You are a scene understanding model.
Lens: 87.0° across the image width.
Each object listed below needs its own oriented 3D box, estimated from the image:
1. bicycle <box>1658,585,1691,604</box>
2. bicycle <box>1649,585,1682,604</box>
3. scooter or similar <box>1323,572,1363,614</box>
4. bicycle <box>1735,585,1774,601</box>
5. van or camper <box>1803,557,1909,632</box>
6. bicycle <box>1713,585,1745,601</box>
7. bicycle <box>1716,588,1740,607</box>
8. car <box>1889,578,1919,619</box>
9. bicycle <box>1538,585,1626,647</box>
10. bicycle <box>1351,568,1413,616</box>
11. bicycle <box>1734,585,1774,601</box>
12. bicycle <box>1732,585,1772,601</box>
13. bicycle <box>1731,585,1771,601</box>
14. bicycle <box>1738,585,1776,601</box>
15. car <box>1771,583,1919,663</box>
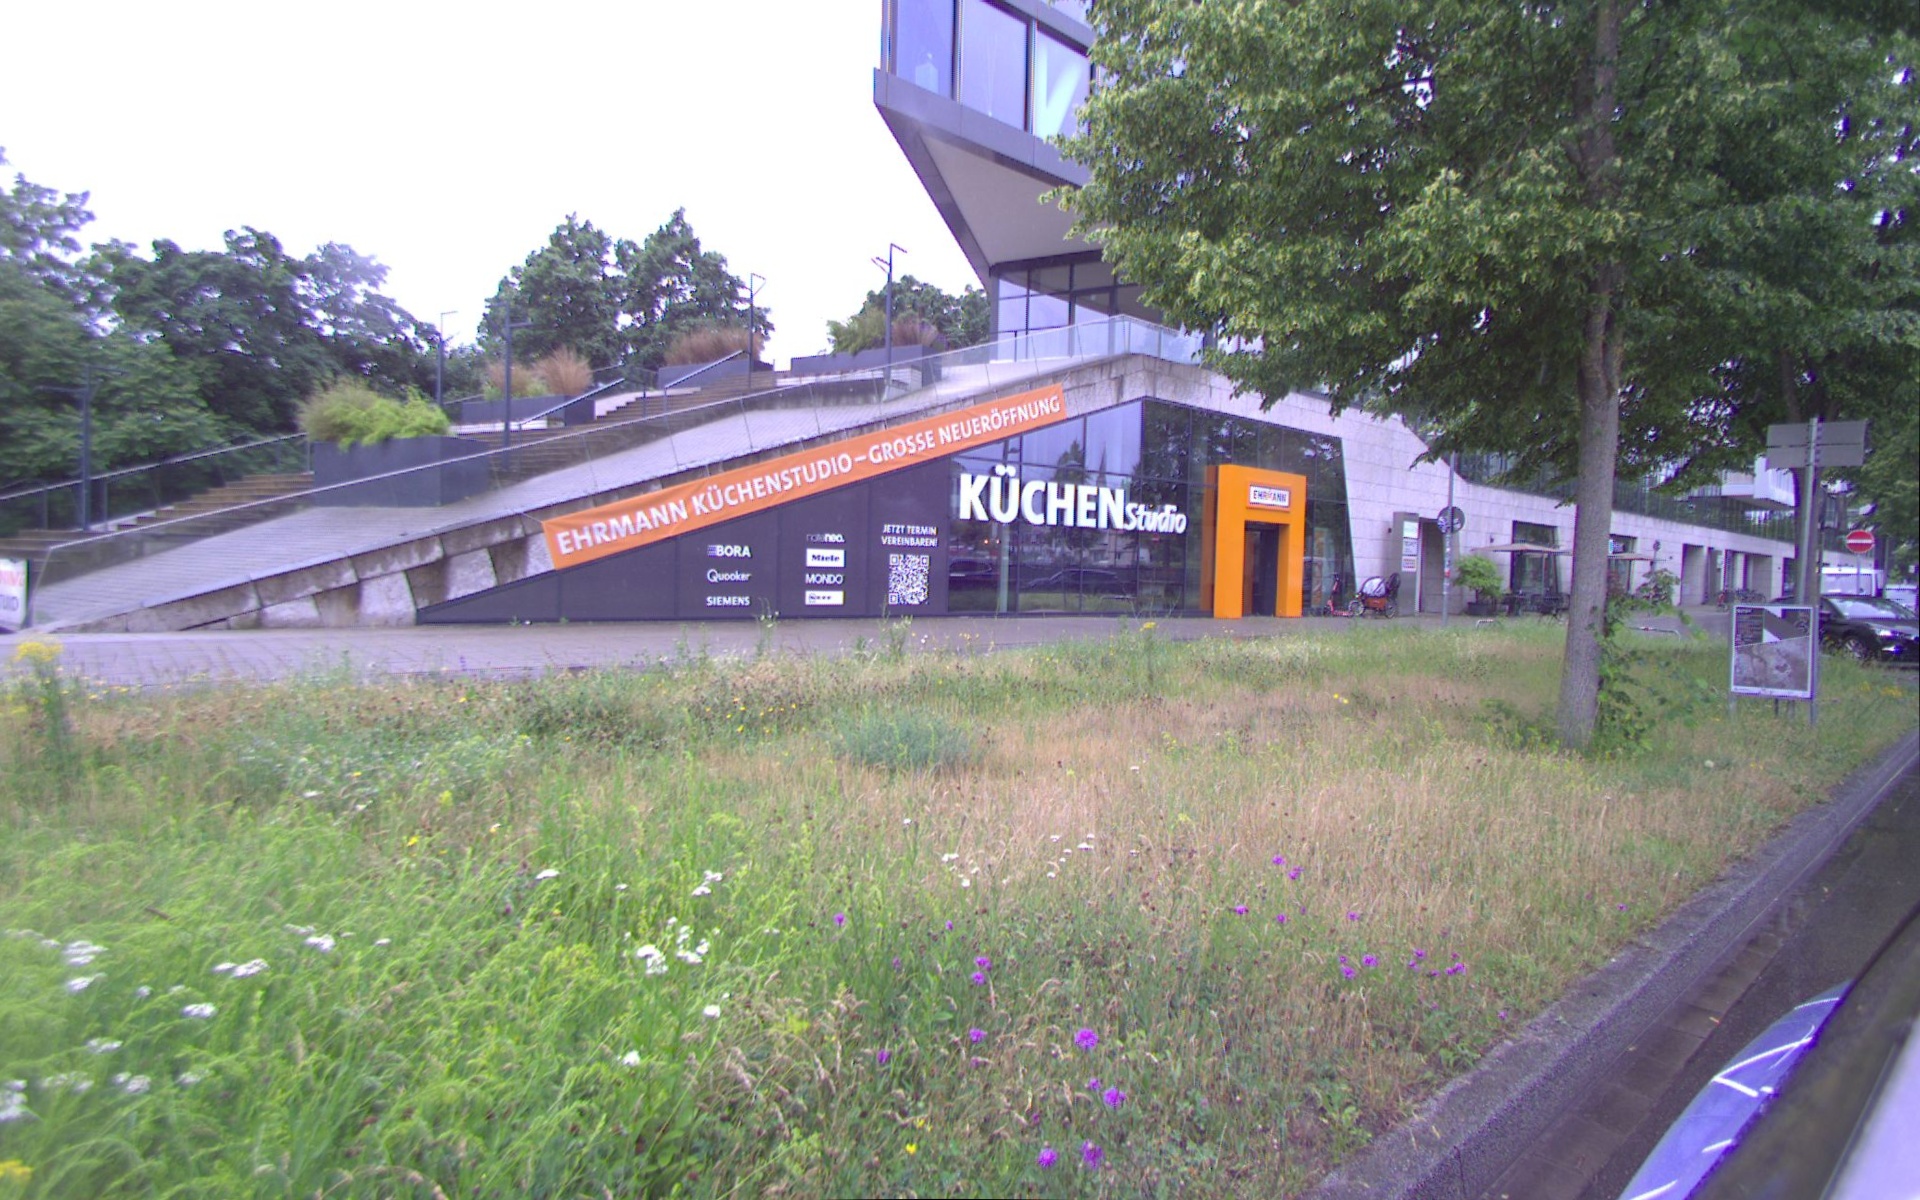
[{"bbox_3d":[37.175,-0.280,52.681,0.388,0.958,2.028,-1,1,4],"label":"bicycle"},{"bbox_3d":[36.560,-0.270,52.446,0.388,0.958,2.028,-1,1,4],"label":"bicycle"},{"bbox_3d":[11.600,-0.206,30.618,1.214,1.243,0.343,-1,0,-22],"label":"scooter or similar"},{"bbox_3d":[53.843,-0.491,68.616,0.389,0.957,2.025,-1,4,-44],"label":"bicycle"},{"bbox_3d":[29.940,-0.245,33.768,5.367,2.320,2.028,-1,2,-42],"label":"van or camper"},{"bbox_3d":[49.577,-0.441,65.245,0.339,0.957,1.665,1,3,-22],"label":"bicycle"},{"bbox_3d":[39.939,-0.154,52.604,1.823,0.957,0.403,-1,2,-34],"label":"bicycle"},{"bbox_3d":[43.448,-0.096,45.683,4.766,1.781,1.744,-1,2,-42],"label":"car"},{"bbox_3d":[14.518,0.351,23.668,0.521,1.363,1.852,2,0,-15],"label":"bicycle"},{"bbox_3d":[13.209,-0.245,31.660,2.382,1.419,0.734,0,3,-41],"label":"bicycle"},{"bbox_3d":[53.480,-0.469,68.172,0.389,0.957,2.025,-1,4,-44],"label":"bicycle"},{"bbox_3d":[53.045,-0.465,67.781,0.389,0.957,2.025,-1,4,-44],"label":"bicycle"},{"bbox_3d":[52.558,-0.458,67.292,0.389,0.957,2.025,-1,4,-44],"label":"bicycle"},{"bbox_3d":[54.711,-0.499,69.487,0.389,0.957,2.025,-1,4,-44],"label":"bicycle"},{"bbox_3d":[18.806,0.408,20.914,1.809,1.437,4.320,1,2,19],"label":"car"}]
